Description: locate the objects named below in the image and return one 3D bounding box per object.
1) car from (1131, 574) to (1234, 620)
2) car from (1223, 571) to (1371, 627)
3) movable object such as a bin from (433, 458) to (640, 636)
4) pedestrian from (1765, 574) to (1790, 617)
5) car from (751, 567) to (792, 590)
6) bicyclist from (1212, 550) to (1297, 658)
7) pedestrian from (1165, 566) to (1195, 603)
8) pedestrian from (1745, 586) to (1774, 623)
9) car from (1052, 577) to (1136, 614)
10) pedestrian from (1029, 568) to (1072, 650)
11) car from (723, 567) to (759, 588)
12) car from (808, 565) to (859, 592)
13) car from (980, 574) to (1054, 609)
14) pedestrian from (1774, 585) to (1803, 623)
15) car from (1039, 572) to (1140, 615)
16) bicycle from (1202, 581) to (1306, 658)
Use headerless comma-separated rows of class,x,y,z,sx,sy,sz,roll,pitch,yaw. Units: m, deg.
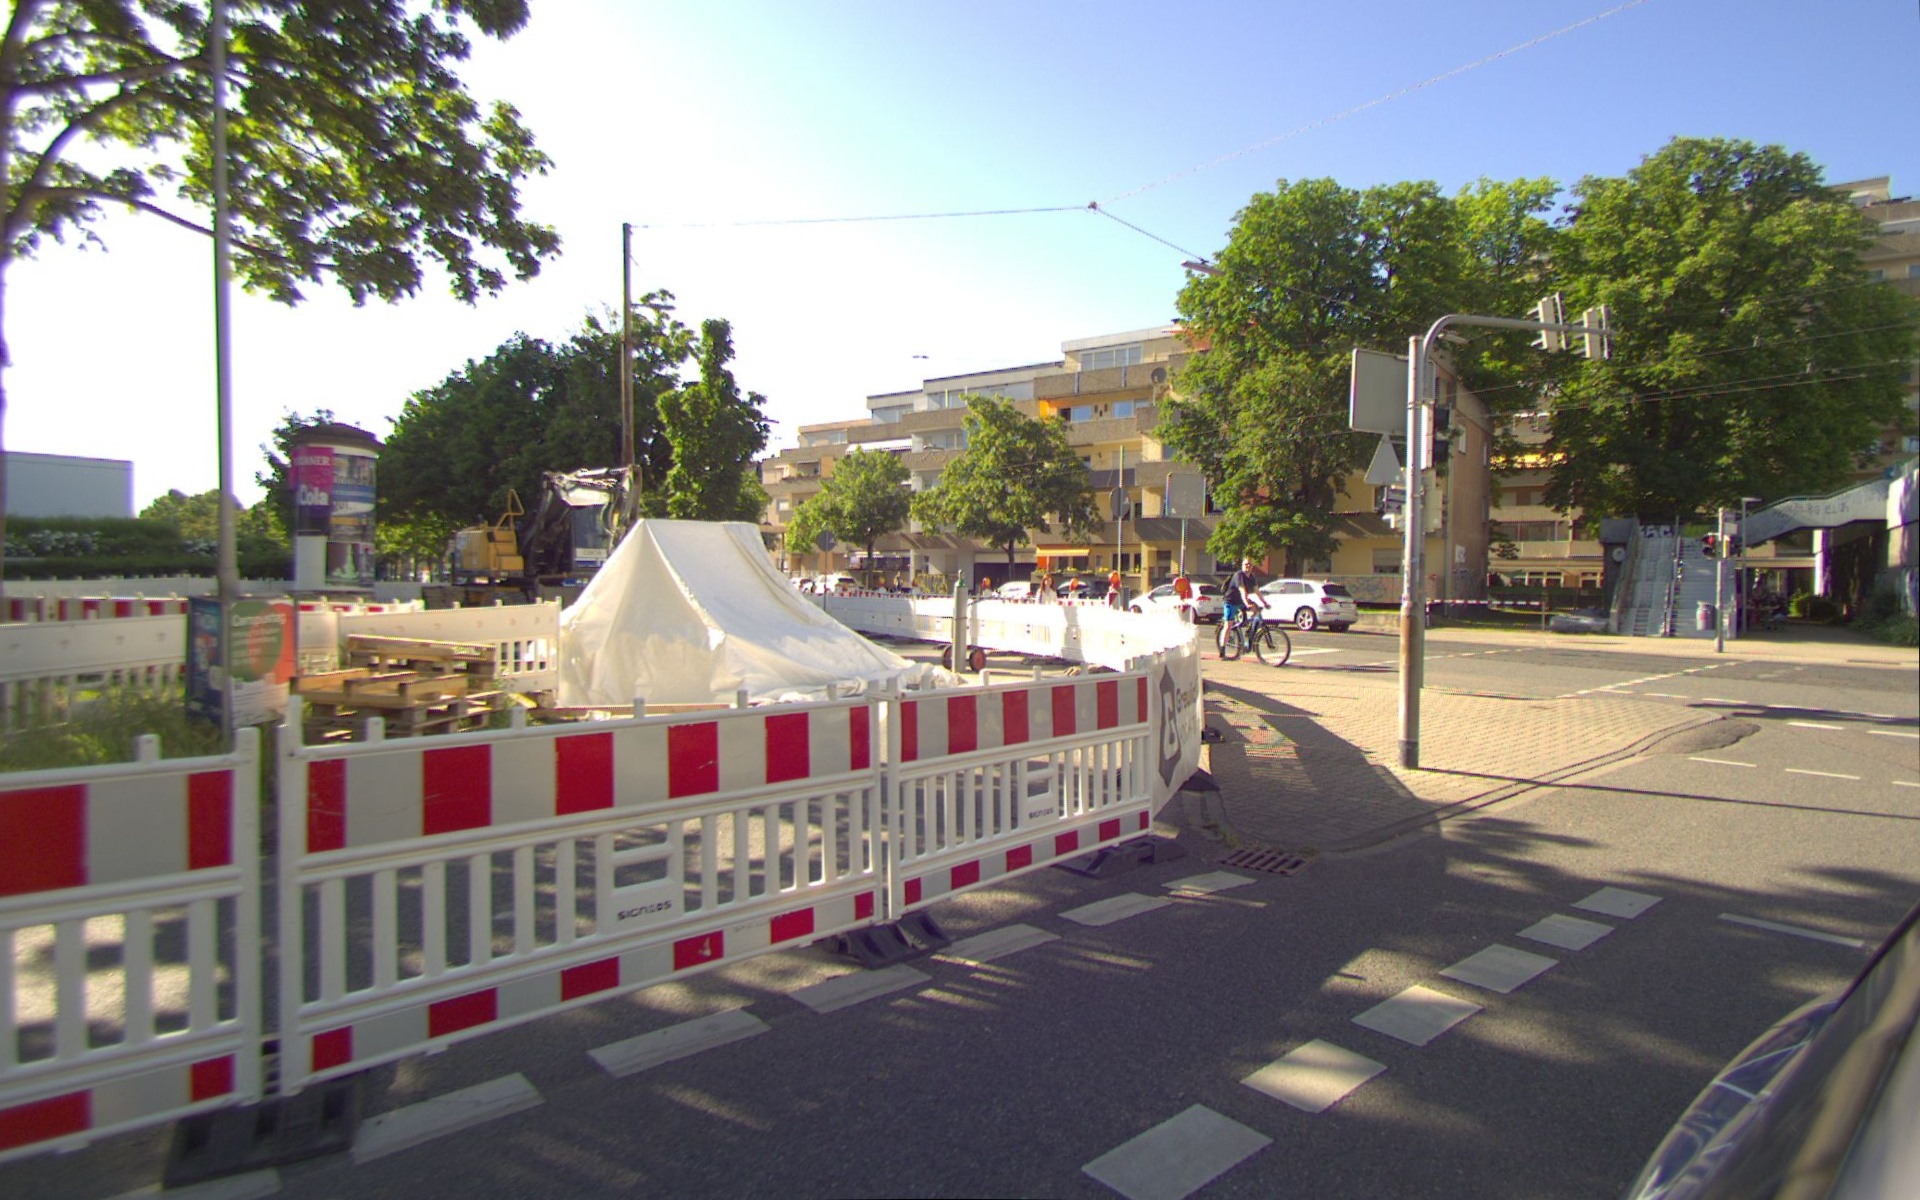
car,8.293,-0.137,38.002,1.626,1.551,3.505,1,1,-39
car,10.930,-0.085,33.104,1.899,1.640,4.325,0,2,-34
movable object such as a bin,-9.311,-1.071,22.051,2.787,3.405,4.701,-1,1,-42
pedestrian,32.602,-0.179,40.358,0.653,1.712,0.583,1,1,31
car,-14.326,-1.626,76.917,1.774,1.695,3.880,0,2,-32
bicyclist,5.255,0.059,18.103,0.896,1.853,1.097,1,1,-32
pedestrian,9.487,-0.683,43.586,0.860,1.572,0.936,0,1,-24
pedestrian,29.173,0.144,36.926,0.734,1.315,0.607,1,1,31
car,5.534,-0.205,42.044,1.634,1.423,3.293,2,1,-36
pedestrian,1.836,0.164,20.529,0.622,1.620,0.640,0,1,-24
car,-17.686,-1.811,81.579,1.729,1.574,3.697,0,2,-32
car,-7.909,-1.327,63.092,1.775,1.567,3.538,2,1,-33
car,2.559,-0.397,45.965,1.457,1.479,3.369,2,1,-37
pedestrian,29.871,0.135,36.486,0.718,1.315,0.583,1,1,31
car,4.832,-0.276,38.079,1.753,1.536,3.756,0,1,-34
bicycle,5.240,0.323,18.137,0.642,1.281,1.785,1,1,-32
